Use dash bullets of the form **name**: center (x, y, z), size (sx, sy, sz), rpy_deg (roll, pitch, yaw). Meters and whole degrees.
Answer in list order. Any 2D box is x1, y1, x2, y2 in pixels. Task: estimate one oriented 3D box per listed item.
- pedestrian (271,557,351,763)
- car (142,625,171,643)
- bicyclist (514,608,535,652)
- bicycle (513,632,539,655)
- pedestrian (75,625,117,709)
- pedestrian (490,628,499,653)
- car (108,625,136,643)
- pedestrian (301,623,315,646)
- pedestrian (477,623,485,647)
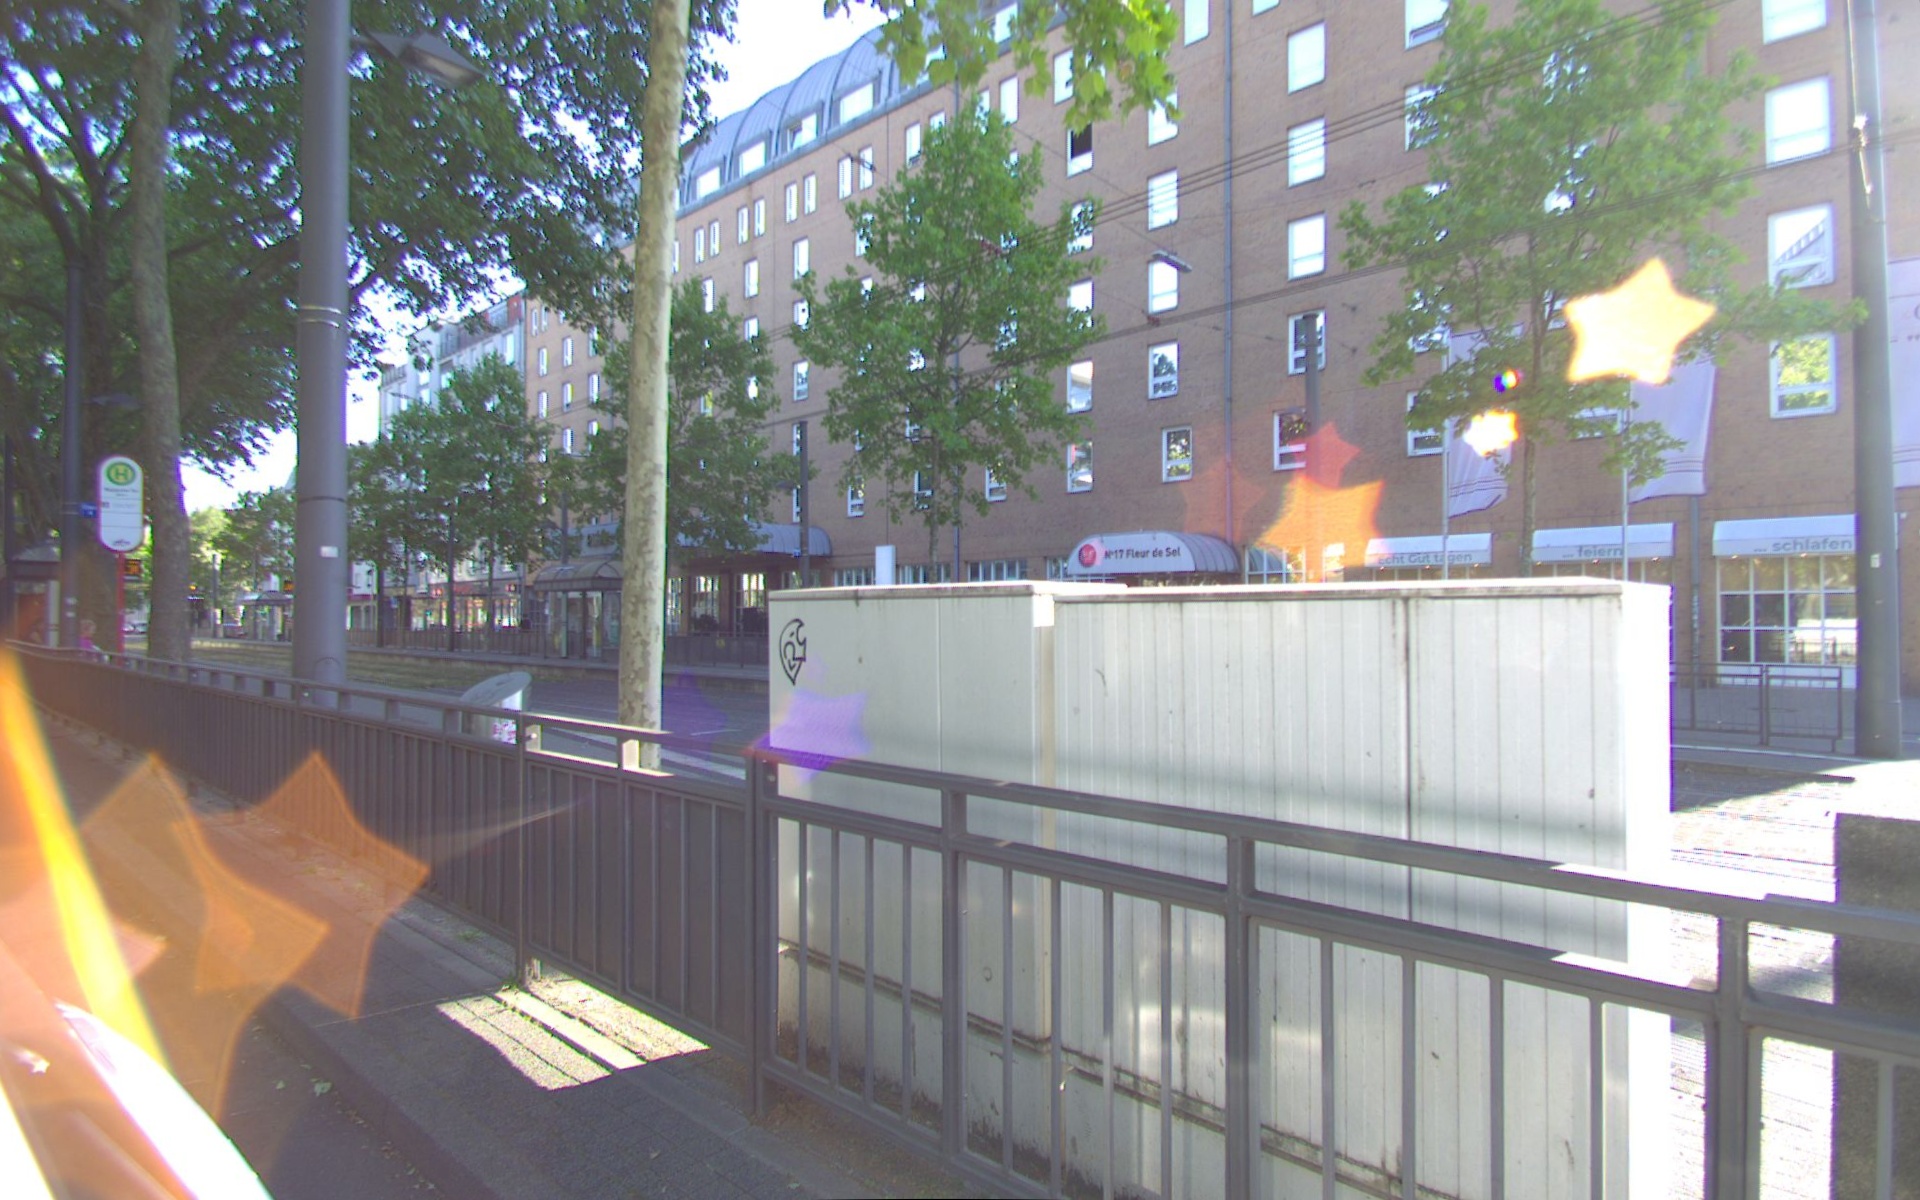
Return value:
- **pedestrian**: center (-6.241, 0.549, 9.731), size (0.612, 1.897, 0.608), rpy_deg (1, 0, -34)
- **car**: center (-95.178, 4.006, 119.822), size (3.998, 2.029, 1.973), rpy_deg (-1, -2, 41)
- **bicyclist**: center (-19.198, 1.339, 44.601), size (0.564, 1.918, 0.814), rpy_deg (2, -2, -43)
- **bicycle**: center (-19.145, 1.906, 44.658), size (0.444, 1.012, 1.754), rpy_deg (2, -2, -44)
- **pedestrian**: center (-13.960, 1.064, 16.355), size (0.493, 1.325, 0.419), rpy_deg (1, -2, -41)
- **pedestrian**: center (-29.279, 2.539, 63.663), size (0.431, 1.532, 0.660), rpy_deg (1, -2, -27)
- **car**: center (-99.527, 4.016, 120.201), size (3.998, 2.029, 1.973), rpy_deg (-1, -2, 41)
- **pedestrian**: center (-57.311, 3.023, 88.947), size (0.763, 2.029, 0.796), rpy_deg (-2, -2, 41)
- **pedestrian**: center (-30.038, 2.185, 63.439), size (0.431, 1.518, 0.660), rpy_deg (1, -2, -27)
